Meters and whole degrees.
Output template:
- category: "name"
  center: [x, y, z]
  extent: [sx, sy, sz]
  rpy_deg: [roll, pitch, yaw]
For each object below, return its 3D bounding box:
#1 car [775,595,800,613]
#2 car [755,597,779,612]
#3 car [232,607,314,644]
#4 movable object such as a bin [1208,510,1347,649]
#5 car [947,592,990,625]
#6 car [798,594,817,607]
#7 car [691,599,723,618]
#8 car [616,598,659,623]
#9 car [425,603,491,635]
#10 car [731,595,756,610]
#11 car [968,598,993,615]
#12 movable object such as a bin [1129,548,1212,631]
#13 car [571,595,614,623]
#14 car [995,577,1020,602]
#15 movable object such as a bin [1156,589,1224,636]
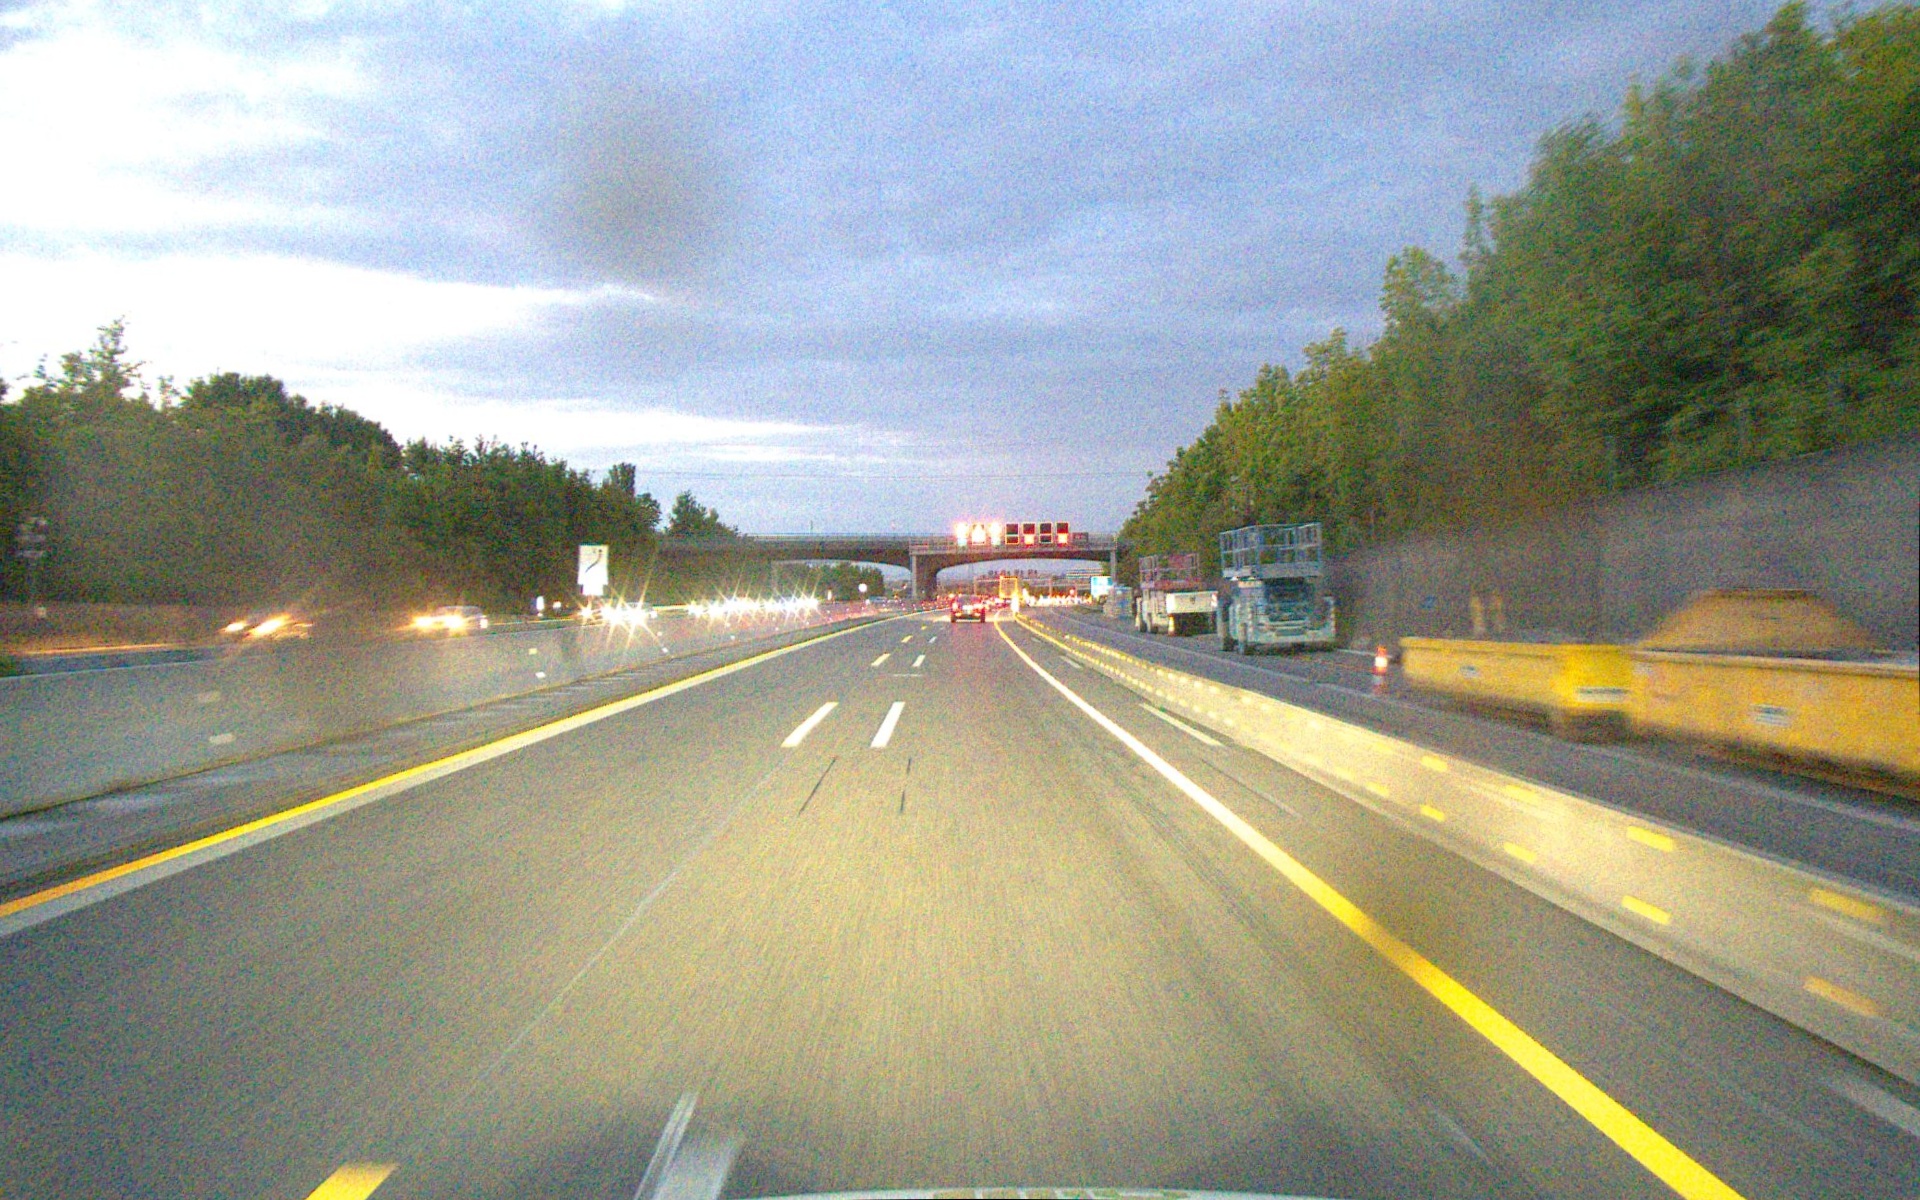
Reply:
- category: "car"
  center: [-17.374, 0.389, 166.553]
  extent: [1.861, 1.768, 4.809]
  rpy_deg: [1, 0, 2]
- category: "car"
  center: [-19.759, 0.483, 169.345]
  extent: [1.773, 1.511, 4.702]
  rpy_deg: [1, 0, 2]
- category: "car"
  center: [-28.993, 1.055, 69.910]
  extent: [1.544, 1.495, 4.227]
  rpy_deg: [1, 0, 2]
- category: "movable object such as a bin"
  center: [8.251, -0.504, 43.560]
  extent: [2.512, 3.376, 5.578]
  rpy_deg: [-1, 0, 0]
- category: "car"
  center: [0.456, 0.450, 88.210]
  extent: [2.219, 1.650, 4.000]
  rpy_deg: [1, 0, 0]
- category: "car"
  center: [-19.504, 0.056, 211.859]
  extent: [1.766, 1.666, 4.753]
  rpy_deg: [1, 0, 2]
- category: "car"
  center: [-20.282, 0.681, 132.854]
  extent: [1.714, 1.480, 4.671]
  rpy_deg: [1, 0, 2]
- category: "car"
  center: [-21.016, 0.679, 108.002]
  extent: [1.770, 1.616, 4.877]
  rpy_deg: [1, 0, 0]
- category: "car"
  center: [-24.961, 0.943, 82.401]
  extent: [1.638, 1.495, 4.648]
  rpy_deg: [1, 0, 2]
- category: "car"
  center: [-22.590, 0.287, 173.014]
  extent: [1.787, 1.511, 4.702]
  rpy_deg: [1, 0, 2]
- category: "car"
  center: [1.850, 0.593, 149.032]
  extent: [1.930, 1.462, 4.002]
  rpy_deg: [1, 0, 5]
- category: "movable object such as a bin"
  center: [8.396, -0.405, 66.518]
  extent: [2.567, 3.162, 5.805]
  rpy_deg: [-1, 0, 0]
- category: "car"
  center: [-24.323, 0.608, 109.572]
  extent: [1.714, 1.752, 4.670]
  rpy_deg: [1, 0, 0]
- category: "car"
  center: [6.839, -1.449, 240.272]
  extent: [3.530, 3.455, 8.015]
  rpy_deg: [1, 0, 1]
- category: "movable object such as a bin"
  center: [8.522, 0.467, 61.554]
  extent: [1.952, 1.629, 4.085]
  rpy_deg: [-2, -1, 1]
